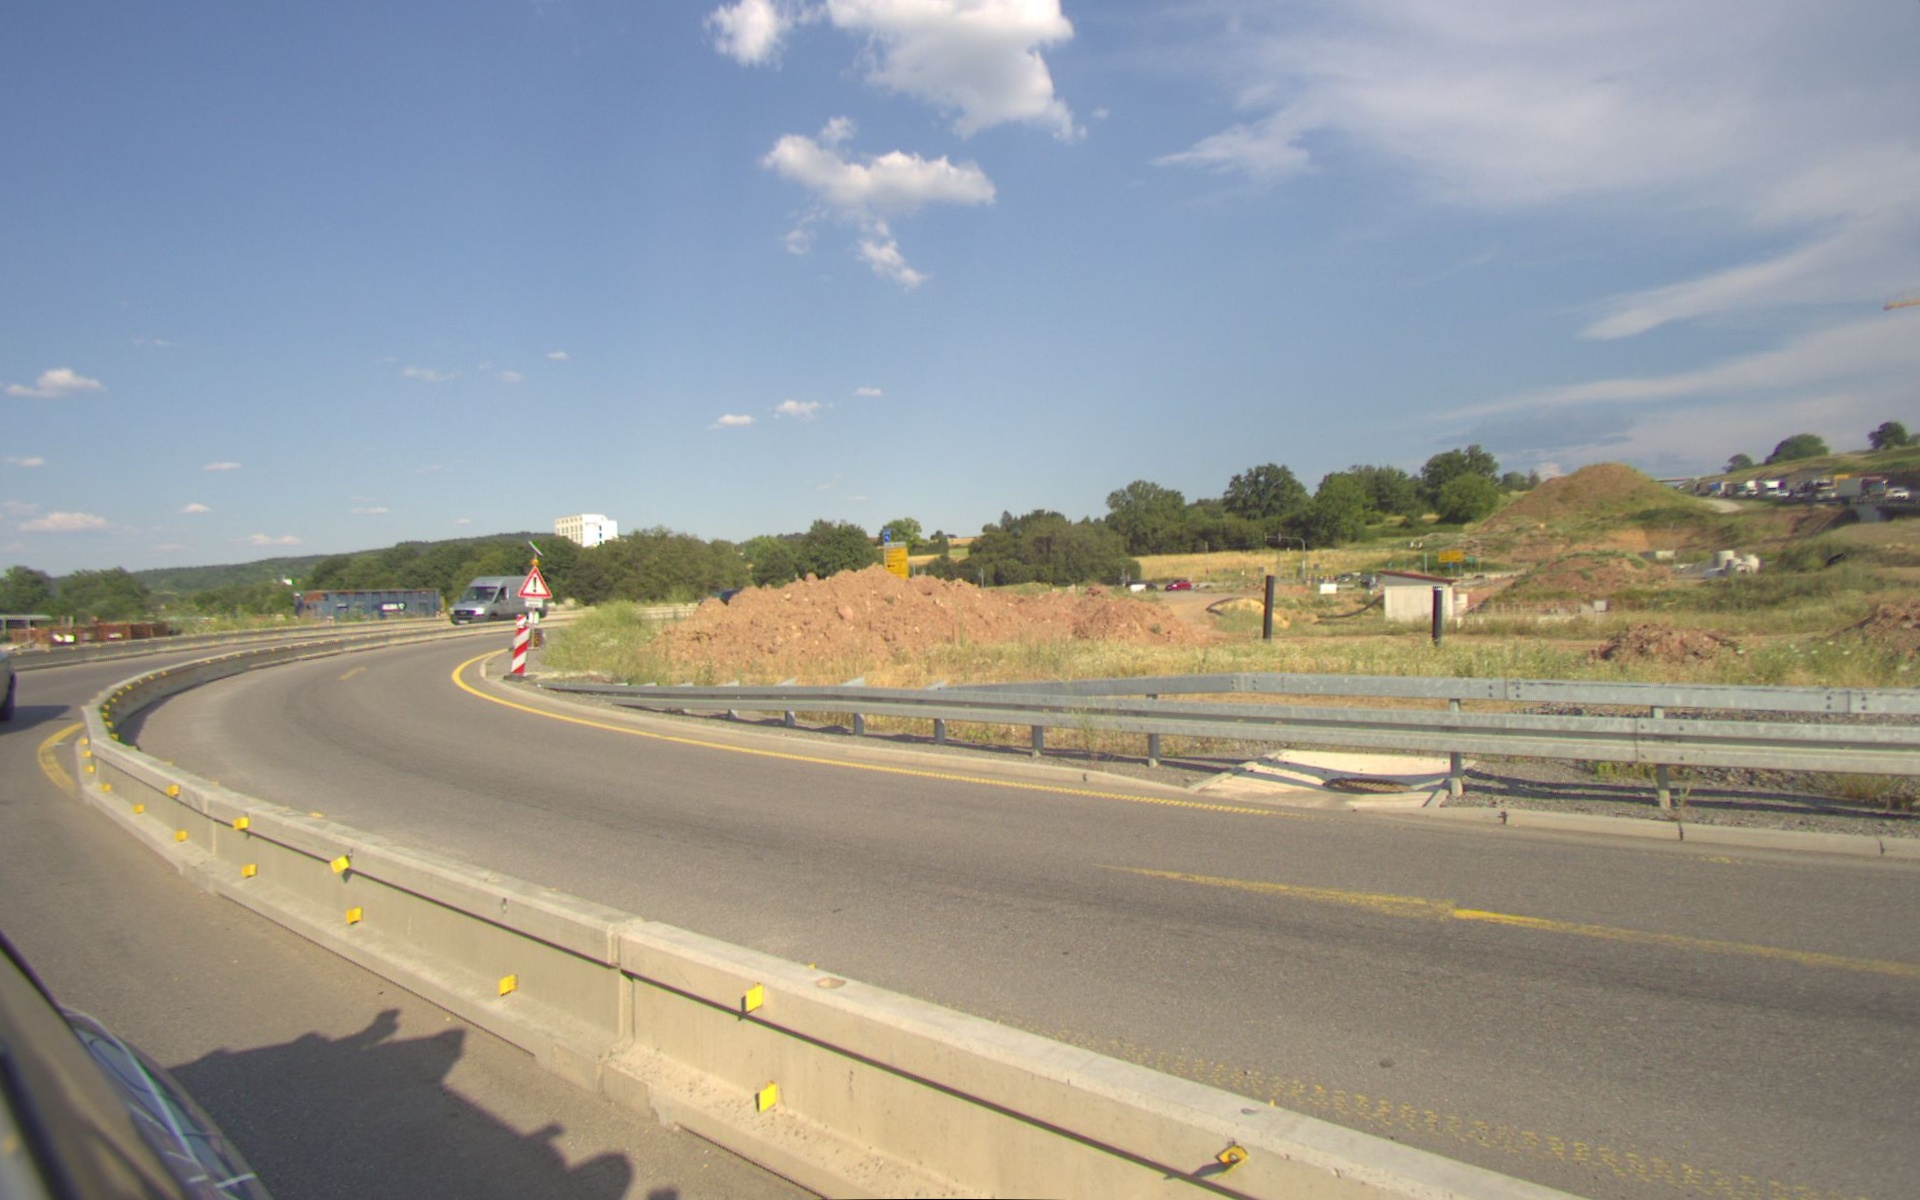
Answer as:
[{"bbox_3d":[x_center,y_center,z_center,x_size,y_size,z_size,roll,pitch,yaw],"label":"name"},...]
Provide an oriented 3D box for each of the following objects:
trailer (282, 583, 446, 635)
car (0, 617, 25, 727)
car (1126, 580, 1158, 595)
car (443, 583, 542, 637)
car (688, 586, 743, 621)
[{"bbox_3d":[-31.211,0.380,53.395,2.991,2.432,7.182,-2,1,20],"label":"trailer"},{"bbox_3d":[-13.465,0.978,12.814,1.719,1.496,4.263,1,-1,-34],"label":"car"},{"bbox_3d":[20.334,-1.405,112.887,1.712,1.530,4.461,1,2,35],"label":"car"},{"bbox_3d":[-23.542,0.416,51.223,1.893,2.519,5.790,-1,1,5],"label":"car"},{"bbox_3d":[-17.507,0.238,72.676,1.863,2.421,3.972,-1,1,21],"label":"car"}]
